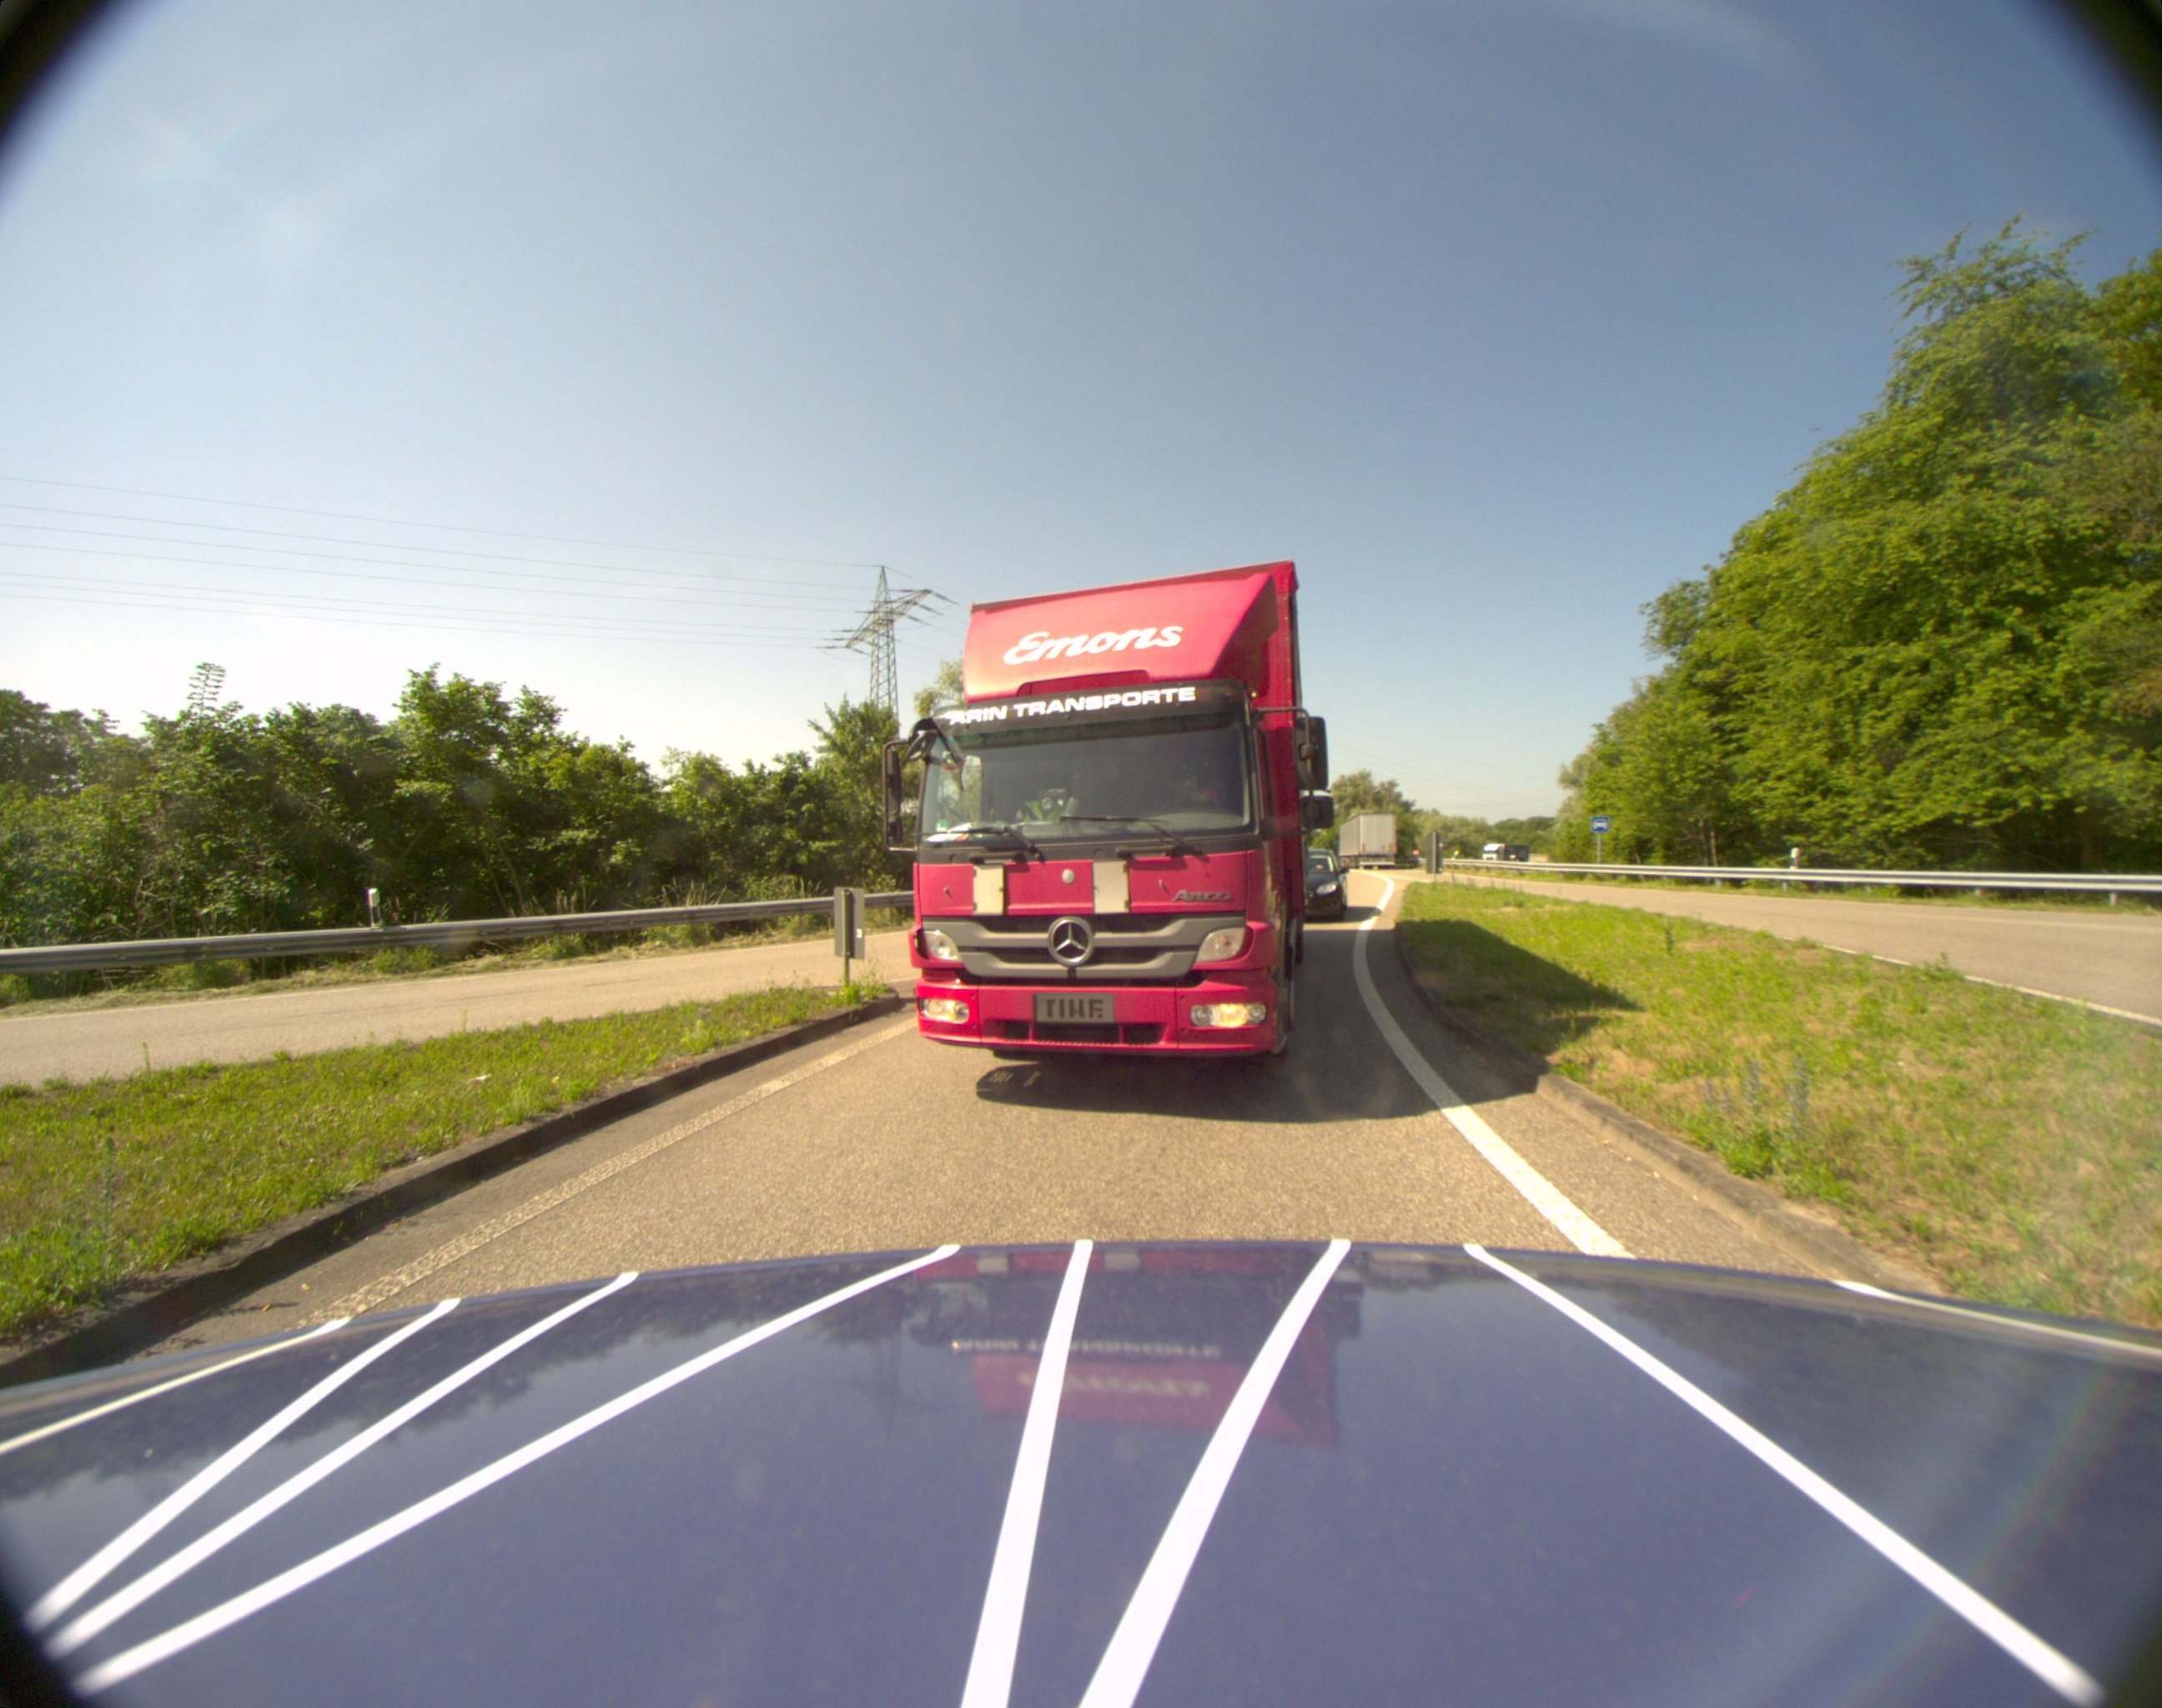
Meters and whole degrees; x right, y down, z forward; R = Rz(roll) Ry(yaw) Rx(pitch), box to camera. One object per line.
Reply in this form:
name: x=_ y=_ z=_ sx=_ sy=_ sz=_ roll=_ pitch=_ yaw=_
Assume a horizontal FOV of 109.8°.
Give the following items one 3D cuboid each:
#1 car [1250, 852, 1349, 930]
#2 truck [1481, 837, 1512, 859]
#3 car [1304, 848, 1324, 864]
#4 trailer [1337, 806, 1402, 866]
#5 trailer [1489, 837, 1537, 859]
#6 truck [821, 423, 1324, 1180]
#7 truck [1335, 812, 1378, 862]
car: x=4.824 y=0.713 z=16.414 sx=1.785 sy=1.406 sz=4.005 roll=-1 pitch=0 yaw=20
truck: x=80.467 y=-1.135 z=147.152 sx=5.743 sy=4.214 sz=2.932 roll=0 pitch=1 yaw=-36
car: x=22.966 y=0.173 z=74.958 sx=1.785 sy=1.377 sz=4.383 roll=-2 pitch=0 yaw=16
trailer: x=22.558 y=-1.314 z=60.218 sx=2.954 sy=4.243 sz=13.995 roll=1 pitch=1 yaw=14
trailer: x=86.133 y=-1.137 z=151.314 sx=14.008 sy=4.216 sz=2.922 roll=0 pitch=1 yaw=-36
truck: x=1.170 y=-0.269 z=8.479 sx=2.686 sy=3.640 sz=9.273 roll=-1 pitch=0 yaw=17
truck: x=24.171 y=-1.450 z=66.927 sx=2.935 sy=4.222 sz=5.738 roll=1 pitch=1 yaw=14
